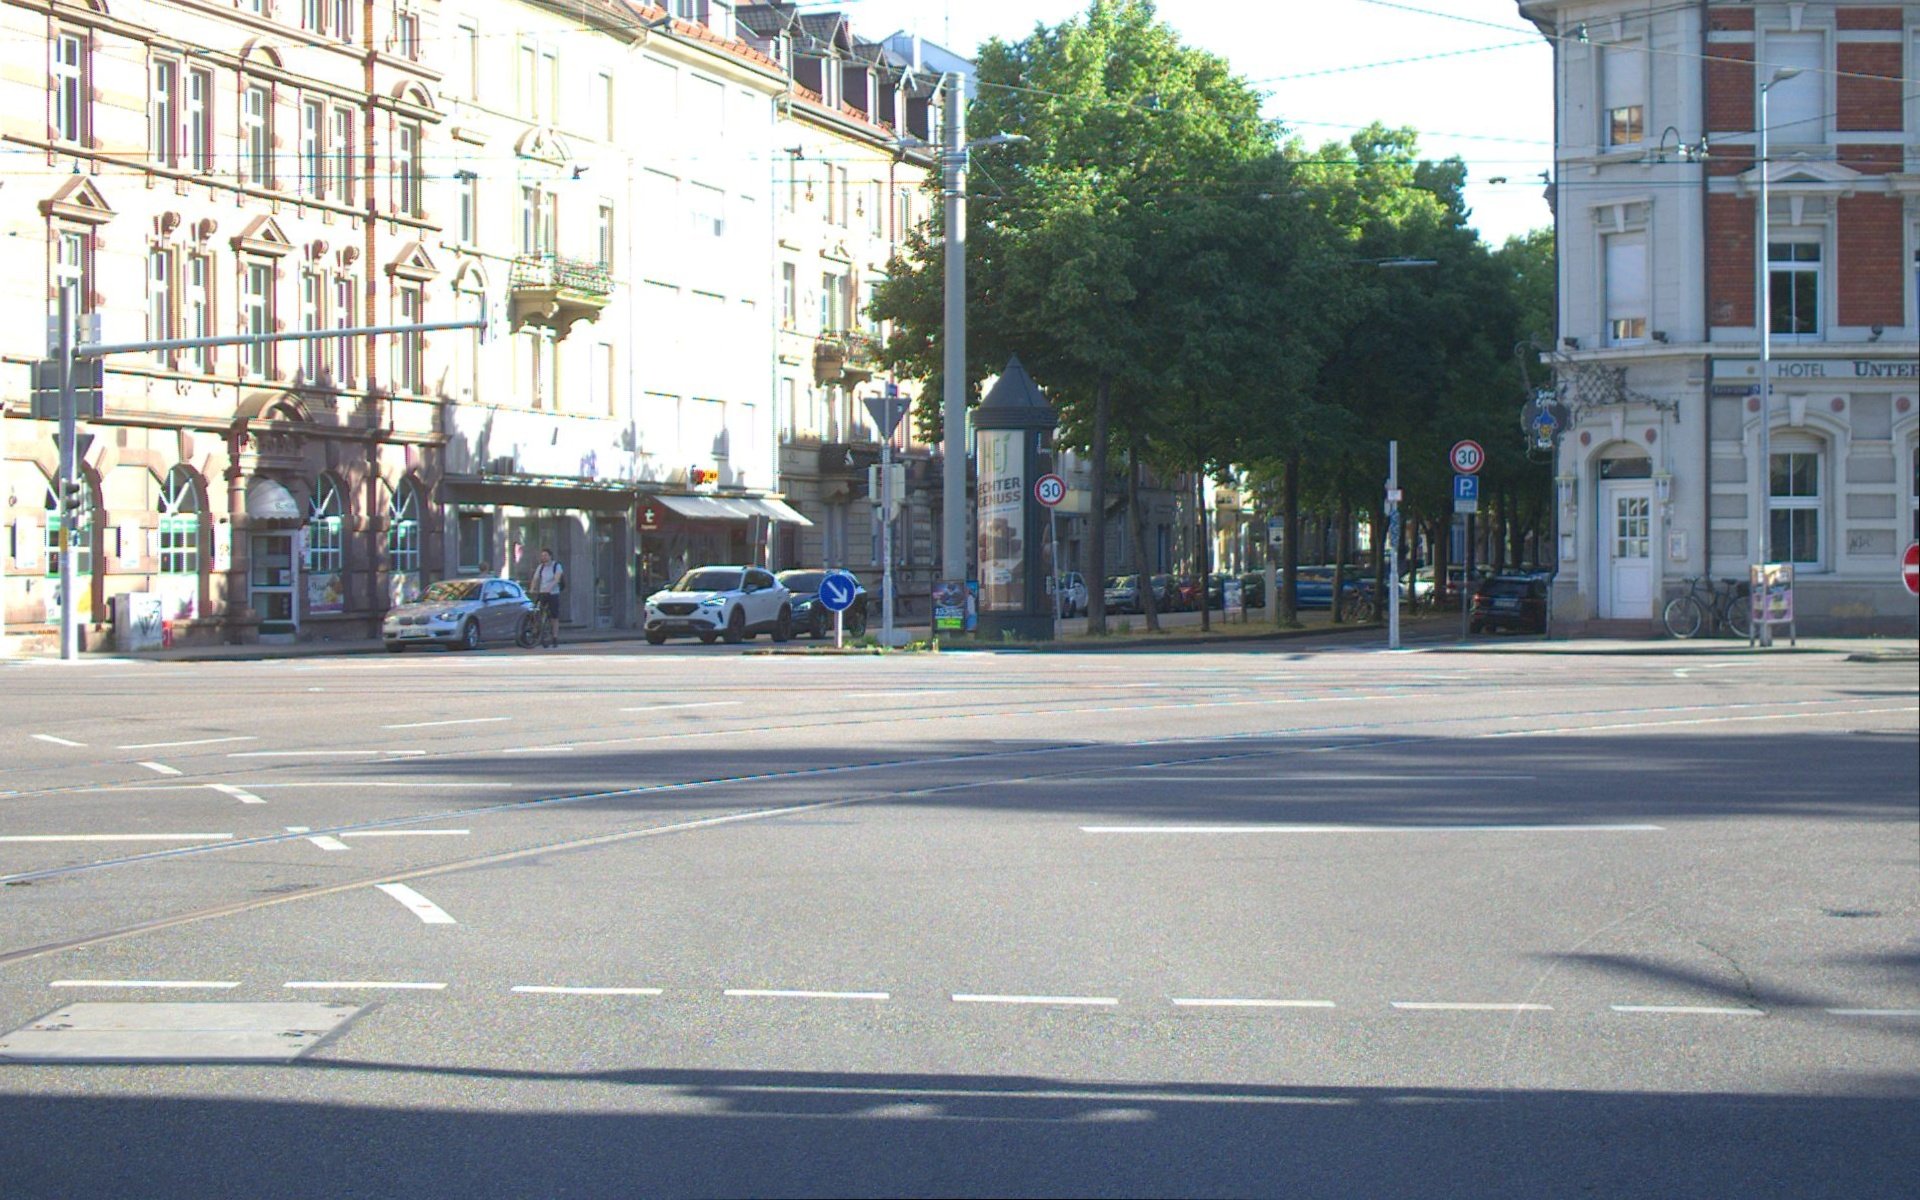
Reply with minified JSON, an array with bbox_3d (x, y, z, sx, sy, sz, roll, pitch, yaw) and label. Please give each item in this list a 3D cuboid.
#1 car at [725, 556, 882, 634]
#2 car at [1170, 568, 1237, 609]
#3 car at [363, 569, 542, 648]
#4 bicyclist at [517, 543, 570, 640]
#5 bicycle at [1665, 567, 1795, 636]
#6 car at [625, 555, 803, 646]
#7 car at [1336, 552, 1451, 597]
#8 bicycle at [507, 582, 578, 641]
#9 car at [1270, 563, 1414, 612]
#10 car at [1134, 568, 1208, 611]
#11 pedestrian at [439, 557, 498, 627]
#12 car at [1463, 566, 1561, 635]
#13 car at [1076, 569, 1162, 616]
[{"bbox_3d":[-3.321,-0.137,73.850,1.995,1.606,4.387,0,1,17],"label":"car"},{"bbox_3d":[9.688,-0.463,136.345,1.766,1.544,4.387,0,1,16],"label":"car"},{"bbox_3d":[-9.854,0.144,67.061,1.900,1.450,3.997,0,1,17],"label":"car"},{"bbox_3d":[-7.880,-0.166,65.058,0.679,1.814,1.070,0,1,12],"label":"bicyclist"},{"bbox_3d":[12.856,0.016,57.403,2.085,1.120,0.367,1,0,-4],"label":"bicycle"},{"bbox_3d":[-4.766,-0.019,67.336,1.995,1.678,4.387,0,1,17],"label":"car"},{"bbox_3d":[16.851,-1.006,133.638,3.993,1.700,1.997,0,1,30],"label":"car"},{"bbox_3d":[-7.891,0.214,65.022,0.680,1.062,2.124,0,1,12],"label":"bicycle"},{"bbox_3d":[12.815,-0.437,115.370,4.382,1.606,1.997,0,1,27],"label":"car"},{"bbox_3d":[8.023,-0.414,130.467,1.839,1.547,4.387,0,1,17],"label":"car"},{"bbox_3d":[-10.895,-0.172,76.177,0.929,1.530,1.136,0,1,14],"label":"pedestrian"},{"bbox_3d":[13.265,-0.004,82.455,1.995,1.579,3.998,0,1,14],"label":"car"},{"bbox_3d":[5.697,-0.296,122.677,1.995,1.607,4.387,0,1,17],"label":"car"}]
